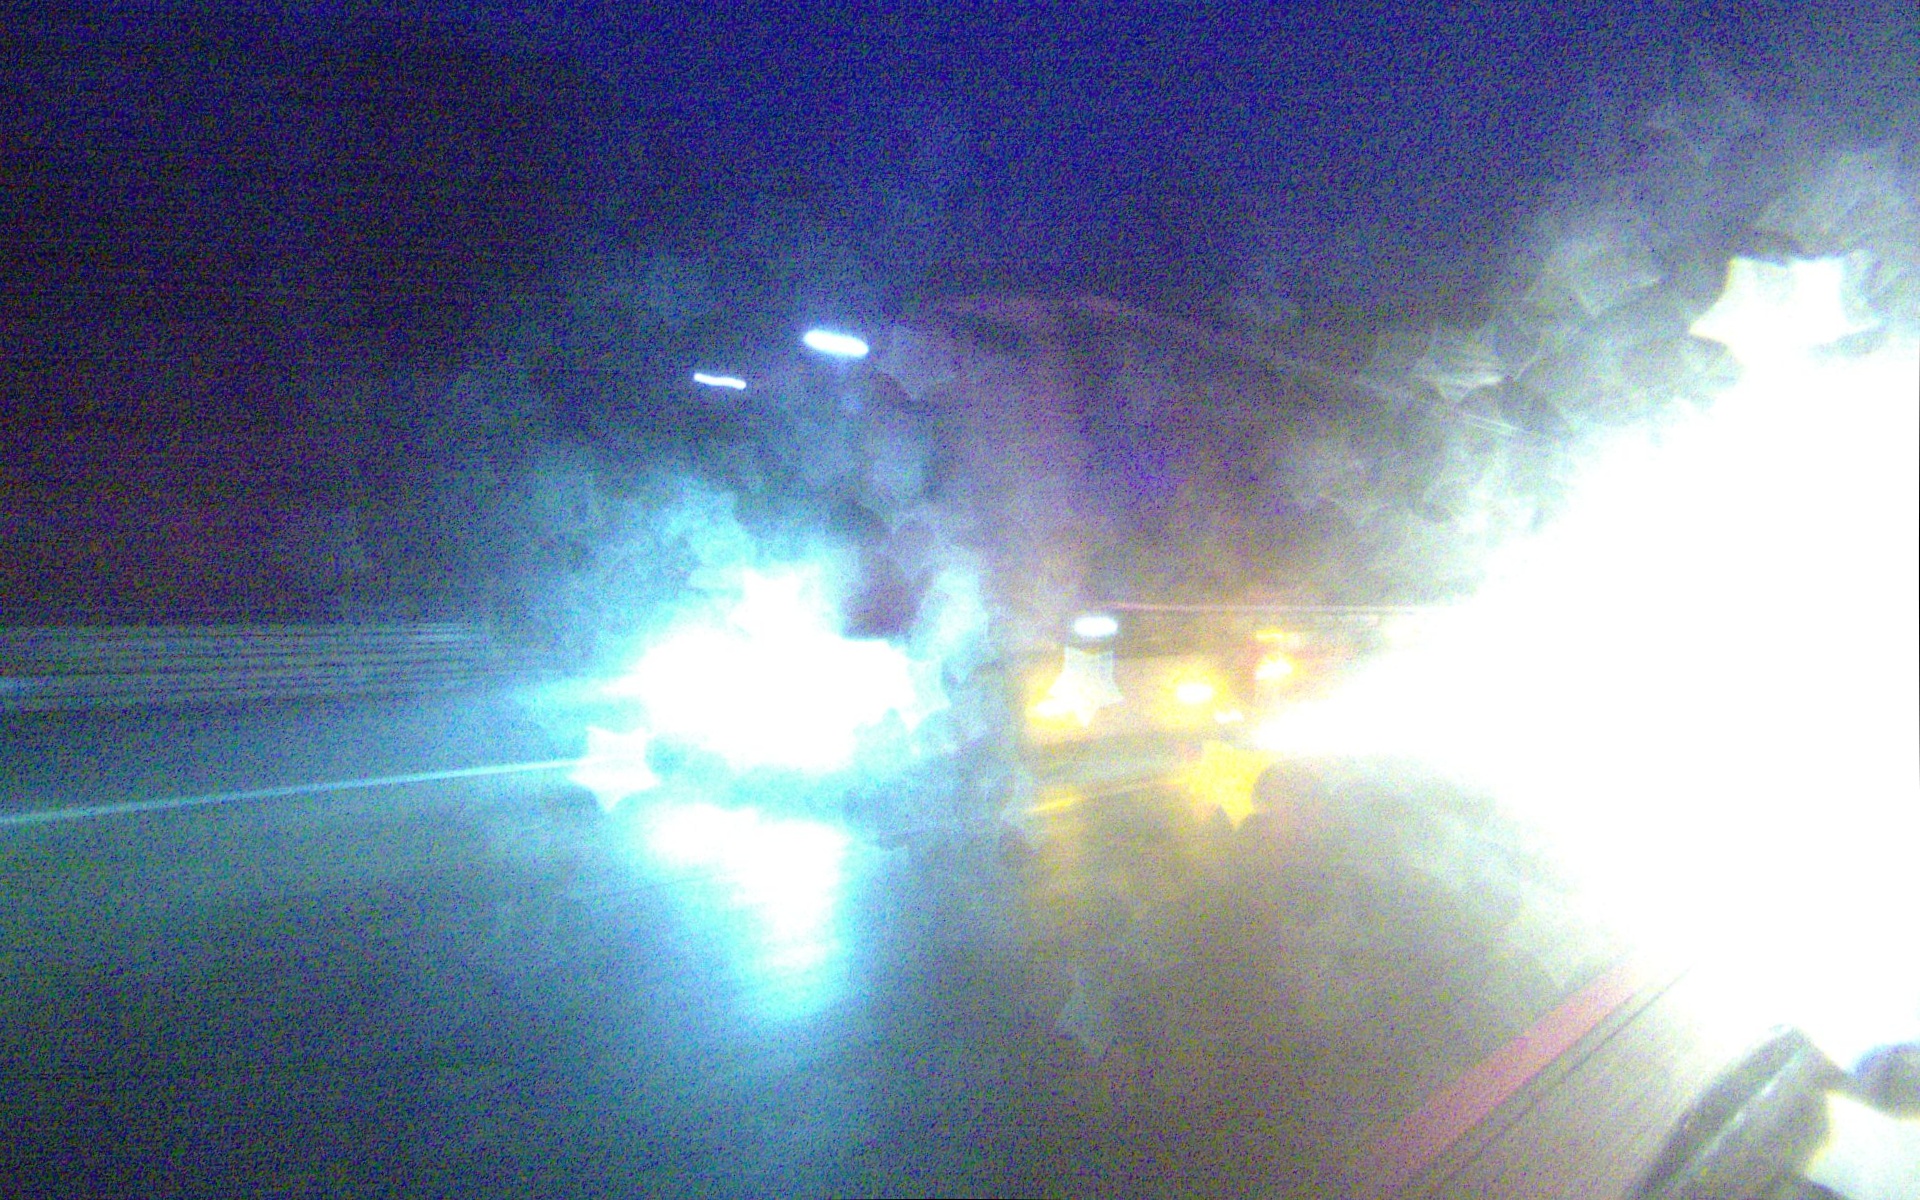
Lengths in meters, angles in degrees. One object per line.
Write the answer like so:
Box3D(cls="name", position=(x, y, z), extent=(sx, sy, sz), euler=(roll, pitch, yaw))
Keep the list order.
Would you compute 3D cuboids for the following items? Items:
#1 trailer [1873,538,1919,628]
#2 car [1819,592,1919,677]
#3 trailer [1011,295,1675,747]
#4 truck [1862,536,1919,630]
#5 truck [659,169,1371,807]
Box3D(cls="trailer", position=(49.320, -0.802, 51.511), extent=(10.980, 4.246, 2.752), euler=(0, 0, -40))
Box3D(cls="car", position=(18.160, 0.603, 19.693), extent=(3.700, 1.522, 1.618), euler=(0, 0, -40))
Box3D(cls="trailer", position=(6.615, -0.772, 14.725), extent=(13.399, 4.149, 2.870), euler=(0, 0, -40))
Box3D(cls="truck", position=(45.227, -0.776, 48.046), extent=(5.909, 4.246, 2.776), euler=(0, 0, -40))
Box3D(cls="truck", position=(0.926, -0.742, 9.917), extent=(6.889, 4.155, 2.865), euler=(0, 0, -40))
